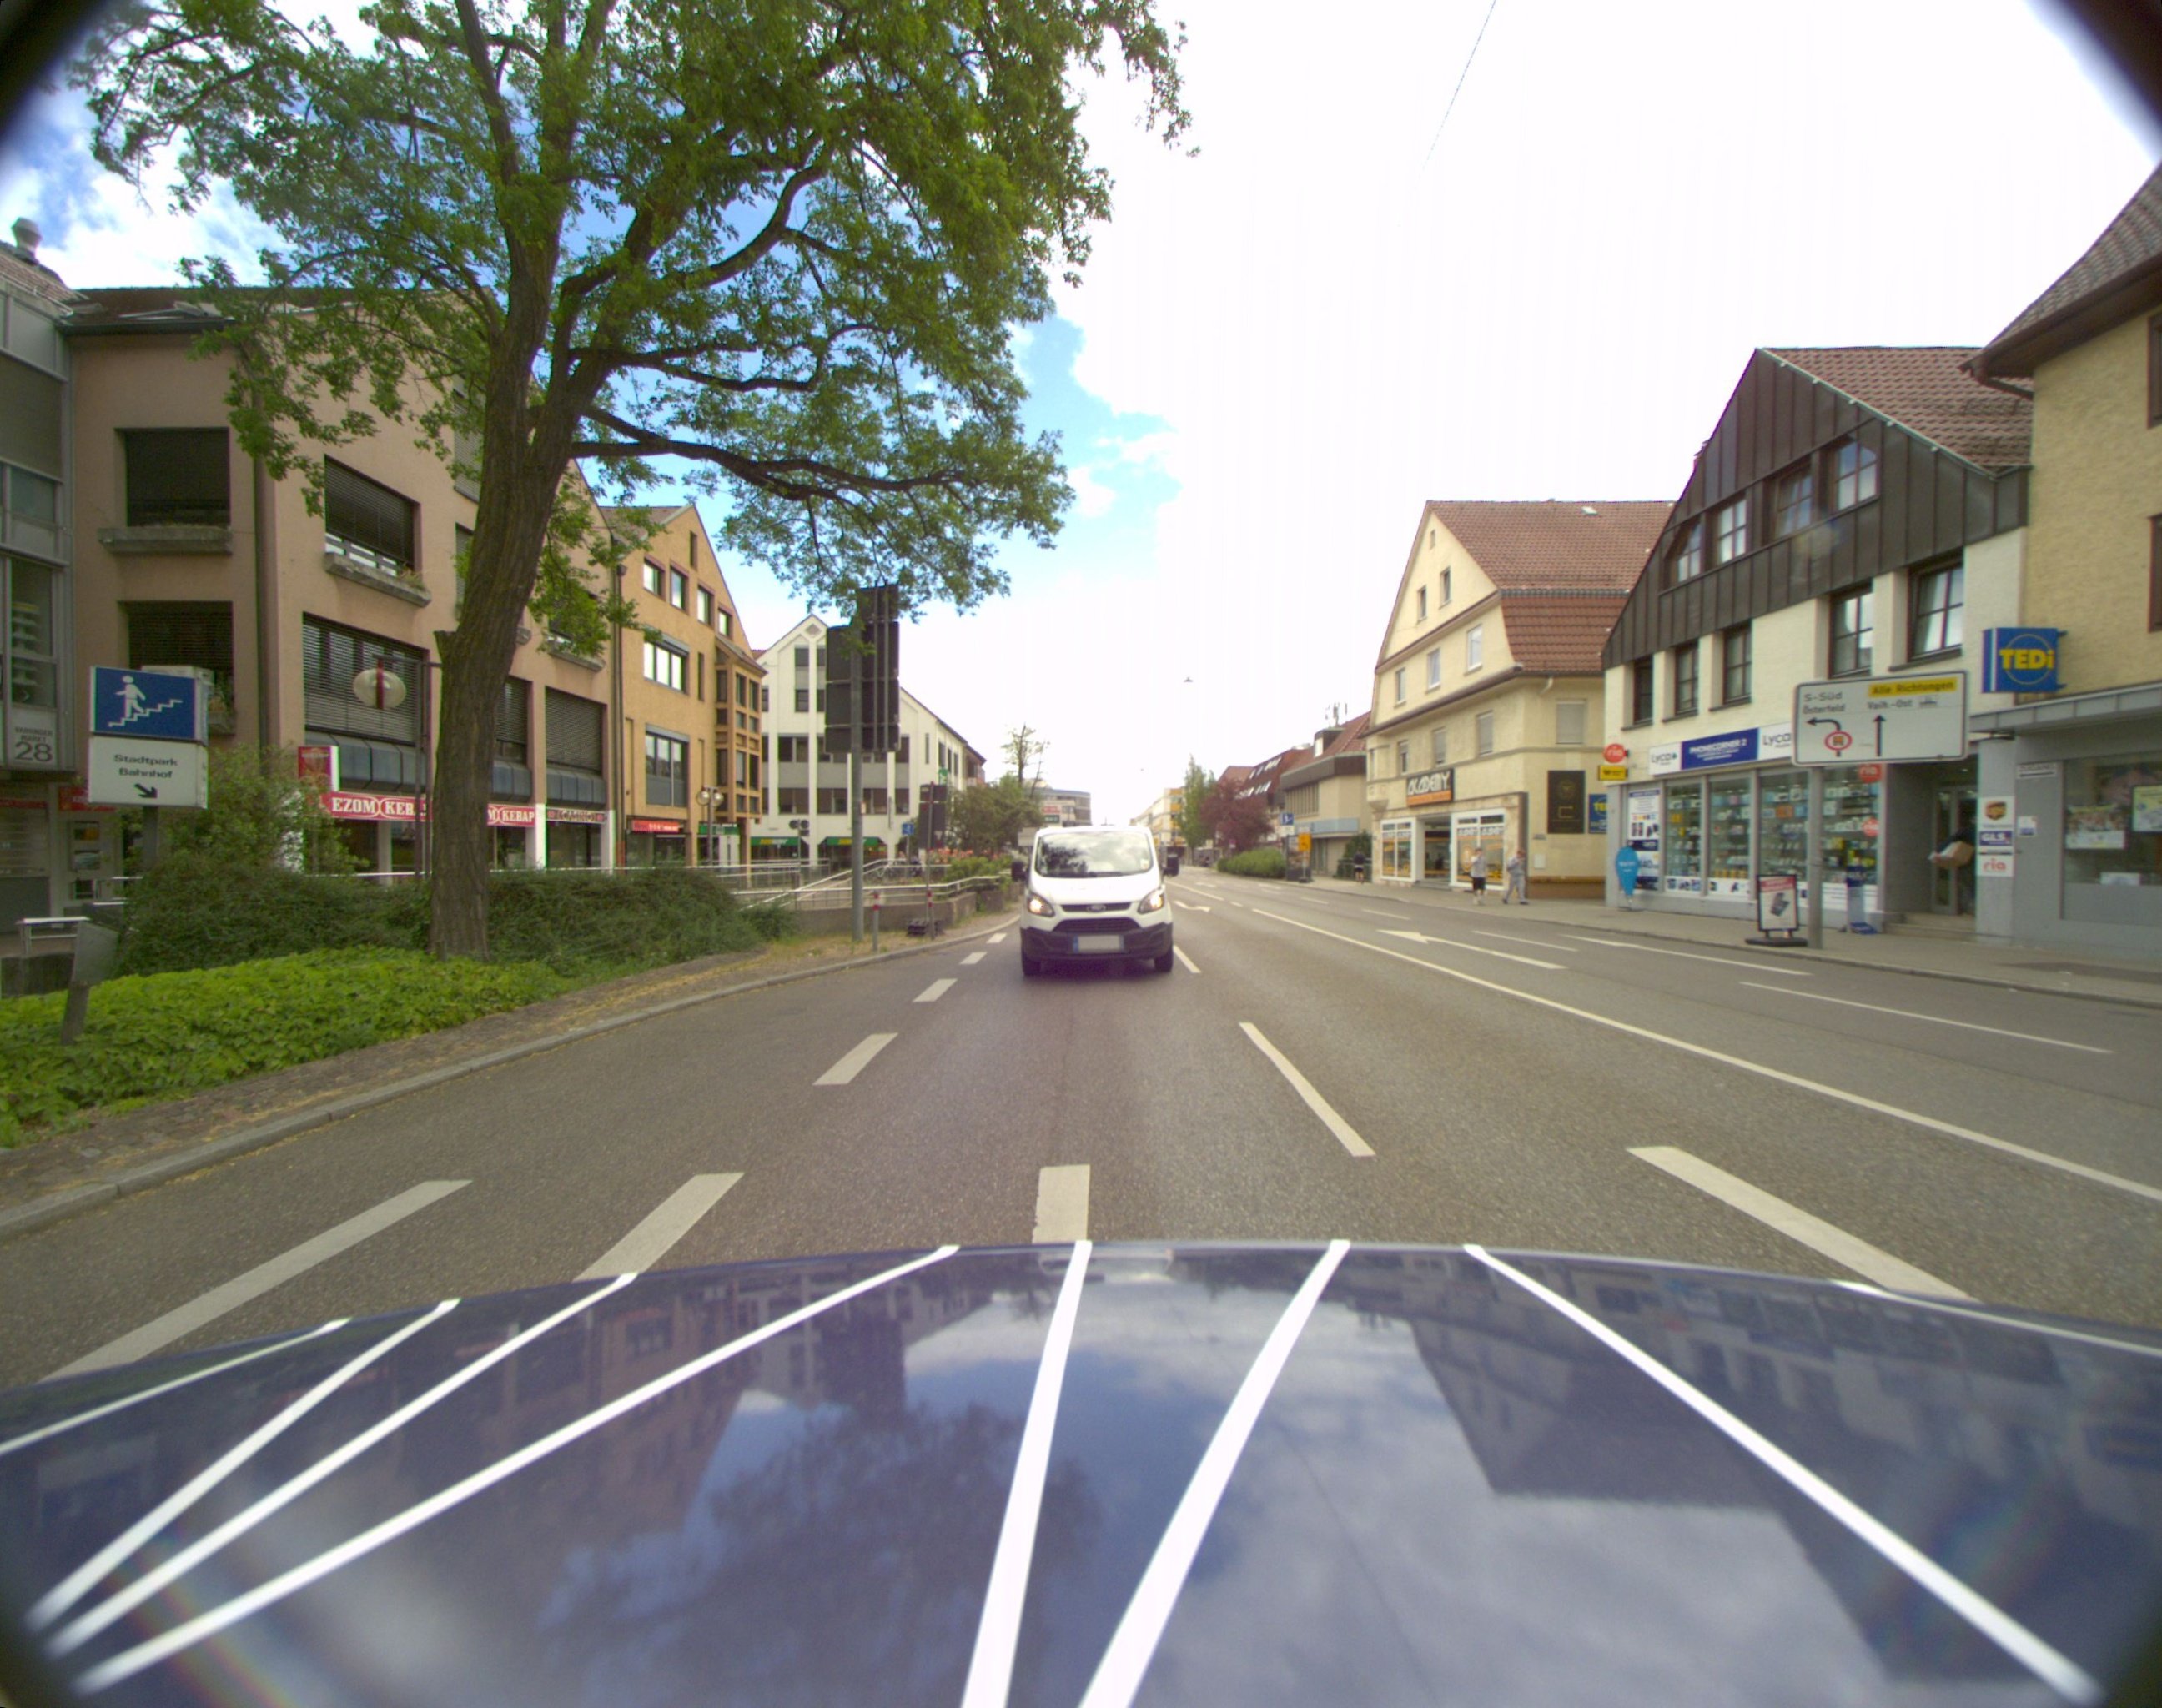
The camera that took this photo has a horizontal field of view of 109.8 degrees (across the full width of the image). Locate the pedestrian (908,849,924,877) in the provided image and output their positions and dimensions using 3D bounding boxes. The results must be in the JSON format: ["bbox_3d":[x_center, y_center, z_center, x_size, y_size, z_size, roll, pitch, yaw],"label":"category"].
[{"bbox_3d":[-11.099,0.581,51.150,0.871,1.812,0.785,-2,1,-3],"label":"pedestrian"}]

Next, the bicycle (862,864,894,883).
[{"bbox_3d":[-10.602,1.003,39.700,1.594,0.963,0.461,0,1,-14],"label":"bicycle"}]

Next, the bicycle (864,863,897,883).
[{"bbox_3d":[-10.279,0.980,38.945,1.594,0.996,0.414,0,1,-13],"label":"bicycle"}]

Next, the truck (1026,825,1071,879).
[{"bbox_3d":[-2.199,-0.206,54.258,2.446,3.464,8.347,-2,1,1],"label":"truck"}]

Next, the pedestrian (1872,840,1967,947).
[{"bbox_3d":[13.929,0.634,12.643,0.688,1.703,0.775,-2,1,1],"label":"pedestrian"}]

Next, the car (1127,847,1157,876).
[{"bbox_3d":[4.237,0.493,53.361,1.748,1.844,4.634,-2,0,2],"label":"car"}]

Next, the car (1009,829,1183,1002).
[{"bbox_3d":[0.200,0.698,11.318,1.964,1.948,5.164,-1,0,1],"label":"car"}]

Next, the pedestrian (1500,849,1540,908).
[{"bbox_3d":[12.728,0.709,22.051,0.689,1.660,0.709,-3,1,1],"label":"pedestrian"}]

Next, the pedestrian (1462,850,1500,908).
[{"bbox_3d":[11.743,0.723,22.327,0.689,1.680,0.742,-1,1,1],"label":"pedestrian"}]

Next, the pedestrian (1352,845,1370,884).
[{"bbox_3d":[13.595,0.510,36.916,0.551,1.878,0.592,-2,1,-3],"label":"pedestrian"}]

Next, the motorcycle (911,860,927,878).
[{"bbox_3d":[-9.583,0.882,45.062,0.464,1.062,1.995,0,0,1],"label":"motorcycle"}]

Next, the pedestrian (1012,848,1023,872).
[{"bbox_3d":[-4.264,0.410,50.932,0.653,1.568,0.684,-1,1,1],"label":"pedestrian"}]

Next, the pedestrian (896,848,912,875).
[{"bbox_3d":[-11.466,0.497,49.094,0.887,1.747,0.943,-1,1,-20],"label":"pedestrian"}]
